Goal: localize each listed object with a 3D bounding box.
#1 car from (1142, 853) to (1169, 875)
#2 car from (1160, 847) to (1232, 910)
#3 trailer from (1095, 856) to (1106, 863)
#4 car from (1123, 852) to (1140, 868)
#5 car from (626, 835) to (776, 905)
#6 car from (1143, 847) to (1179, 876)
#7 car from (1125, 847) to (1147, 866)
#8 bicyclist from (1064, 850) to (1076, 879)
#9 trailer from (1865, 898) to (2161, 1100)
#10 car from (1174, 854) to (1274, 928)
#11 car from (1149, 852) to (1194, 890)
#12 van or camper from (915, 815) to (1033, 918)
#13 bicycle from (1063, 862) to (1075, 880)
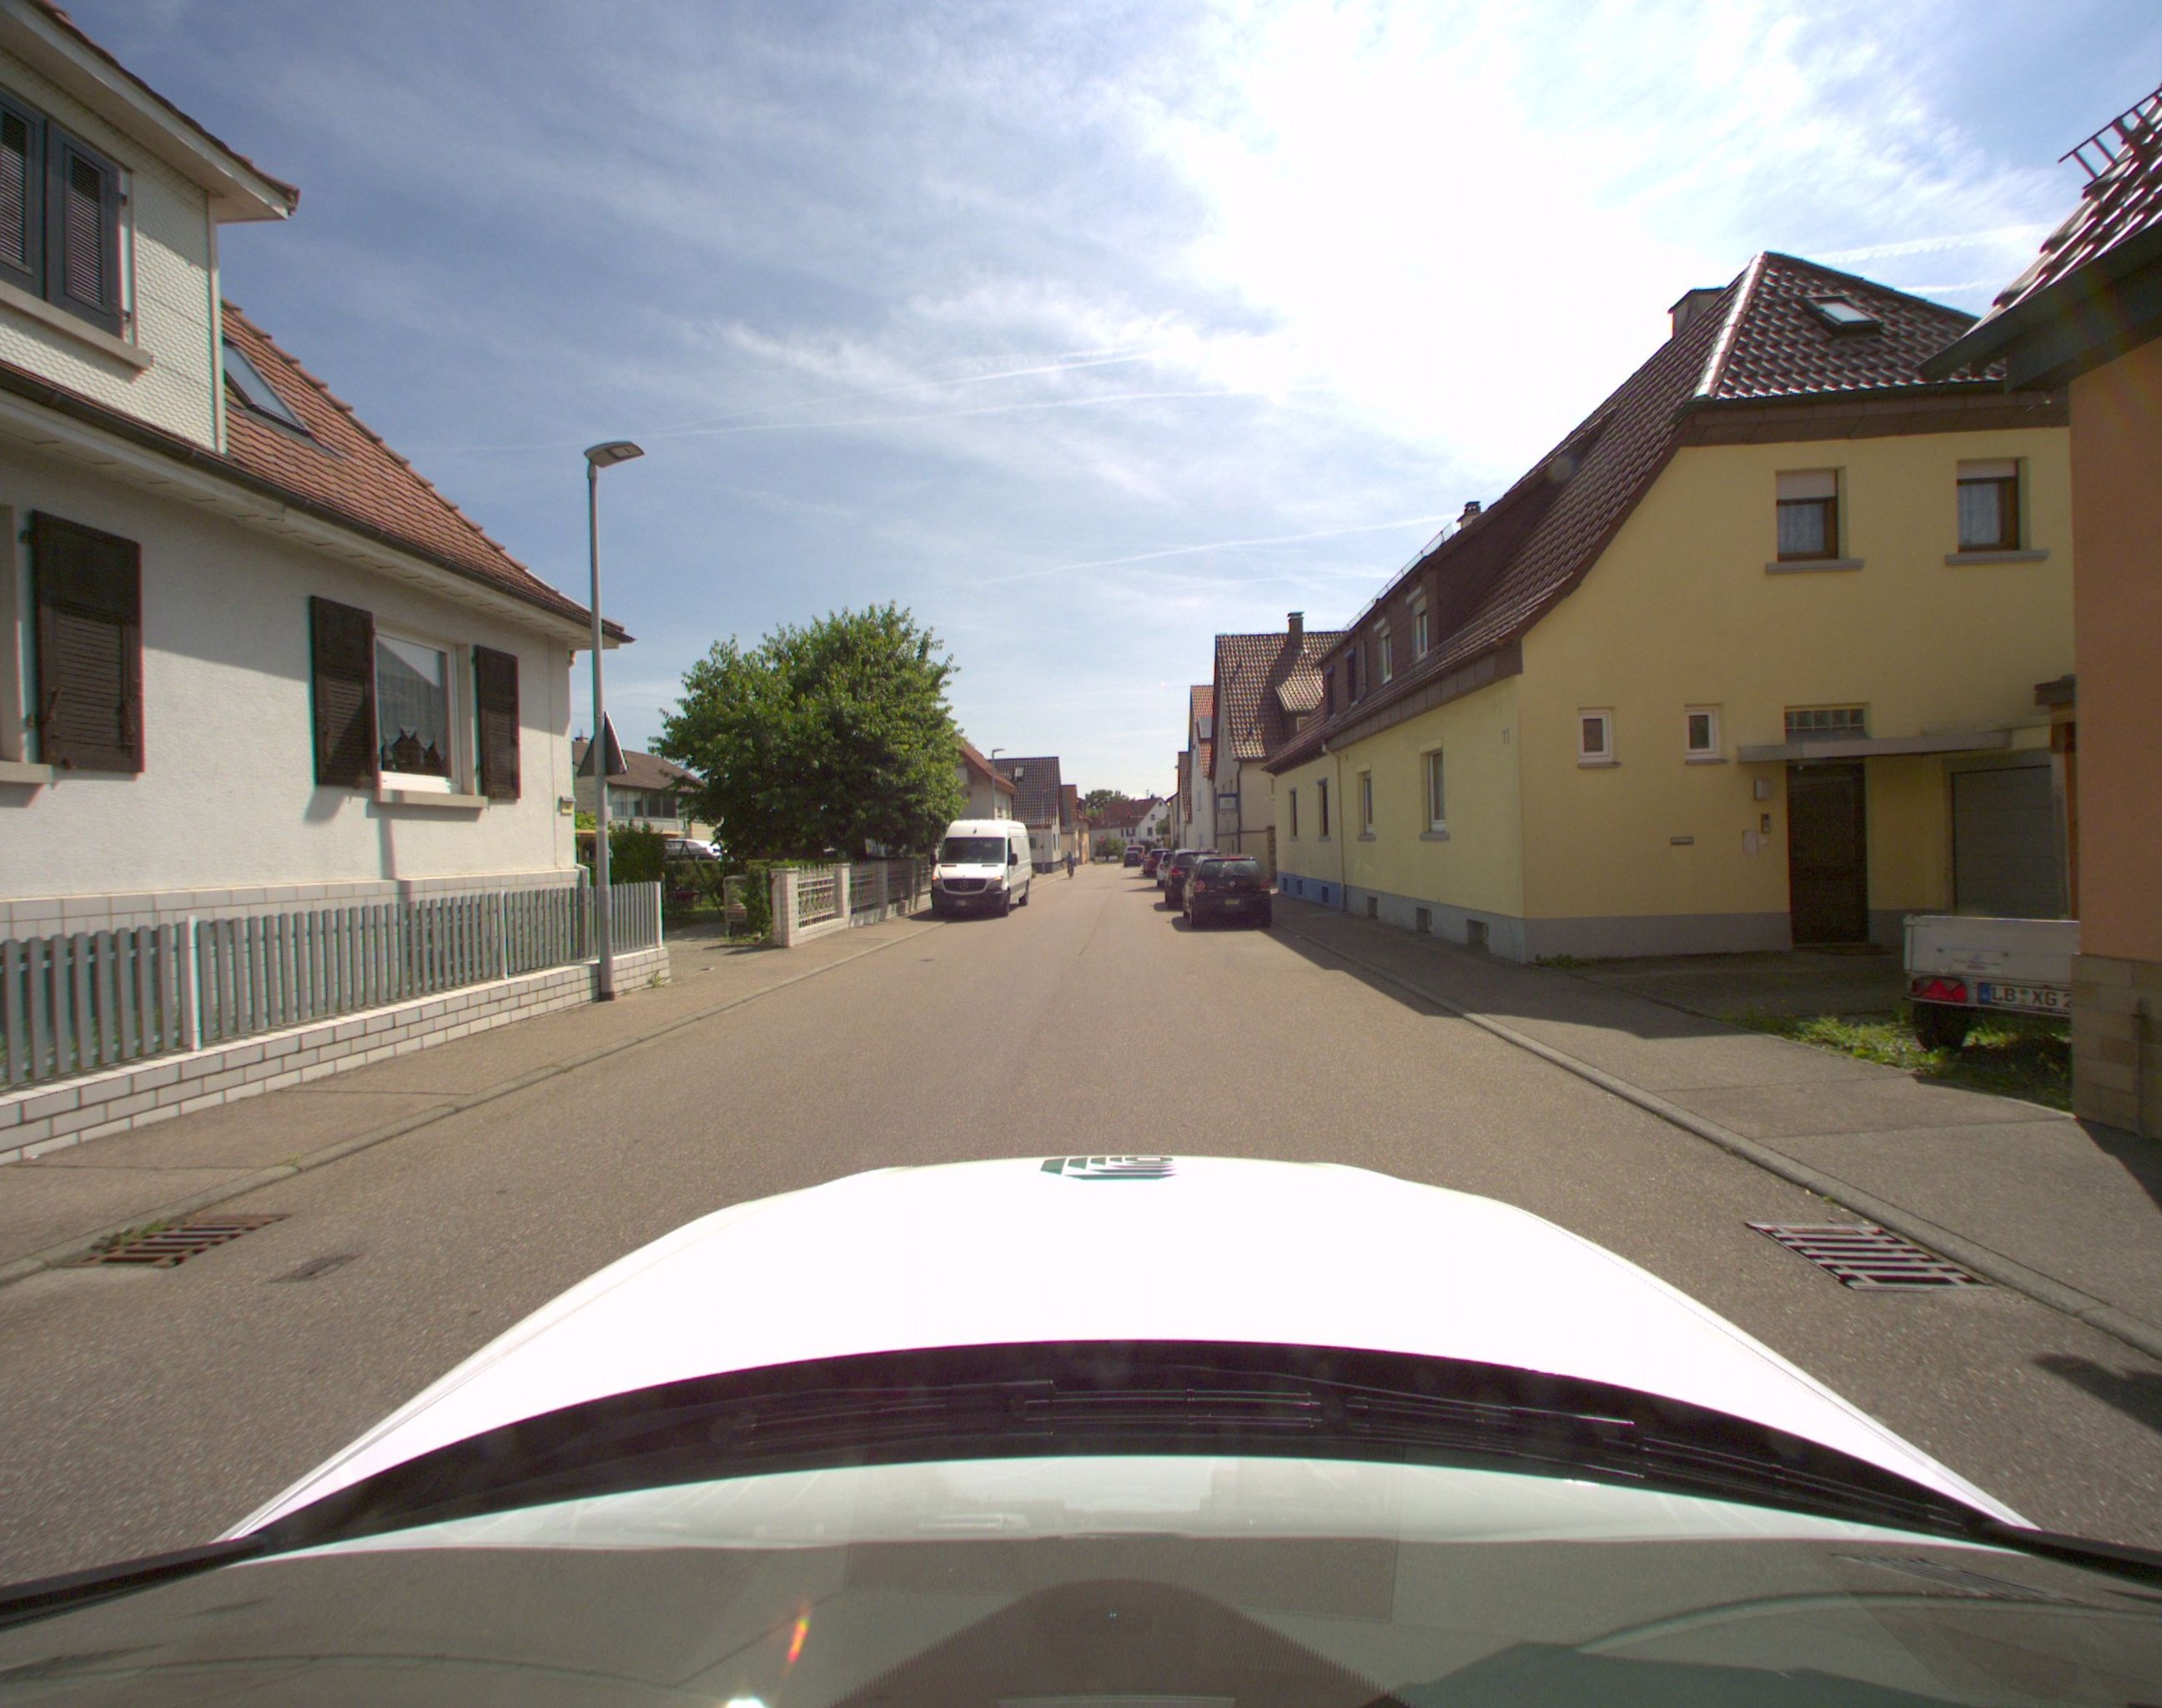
[{"bbox_3d":[5.108,0.660,56.312,1.755,1.424,4.597,-1,0,5],"label":"car"},{"bbox_3d":[3.176,0.632,23.181,1.721,1.600,4.257,-1,0,4],"label":"car"},{"bbox_3d":[2.658,0.808,111.460,1.495,0.927,1.013,1,0,4],"label":"trailer"},{"bbox_3d":[5.054,0.549,81.263,1.508,1.567,3.190,-1,0,7],"label":"car"},{"bbox_3d":[-14.616,0.612,31.526,4.785,2.492,1.966,-2,0,1],"label":"car"},{"bbox_3d":[4.903,0.436,50.326,1.869,1.700,4.184,-1,0,1],"label":"car"},{"bbox_3d":[6.507,0.276,95.432,2.116,2.158,4.748,-2,0,9],"label":"car"},{"bbox_3d":[-0.713,0.634,51.545,0.710,1.799,0.942,-1,0,1],"label":"bicyclist"},{"bbox_3d":[6.248,0.800,5.151,2.147,0.899,1.232,-1,0,-27],"label":"trailer"},{"bbox_3d":[2.998,0.723,17.737,1.605,1.431,3.755,-1,0,1],"label":"car"},{"bbox_3d":[3.858,0.699,35.111,1.667,1.559,3.041,-1,0,1],"label":"car"},{"bbox_3d":[-2.852,0.305,23.654,2.175,2.571,6.812,0,0,3],"label":"van or camper"},{"bbox_3d":[-0.745,1.065,51.461,0.667,1.132,2.190,-1,0,2],"label":"bicycle"}]
